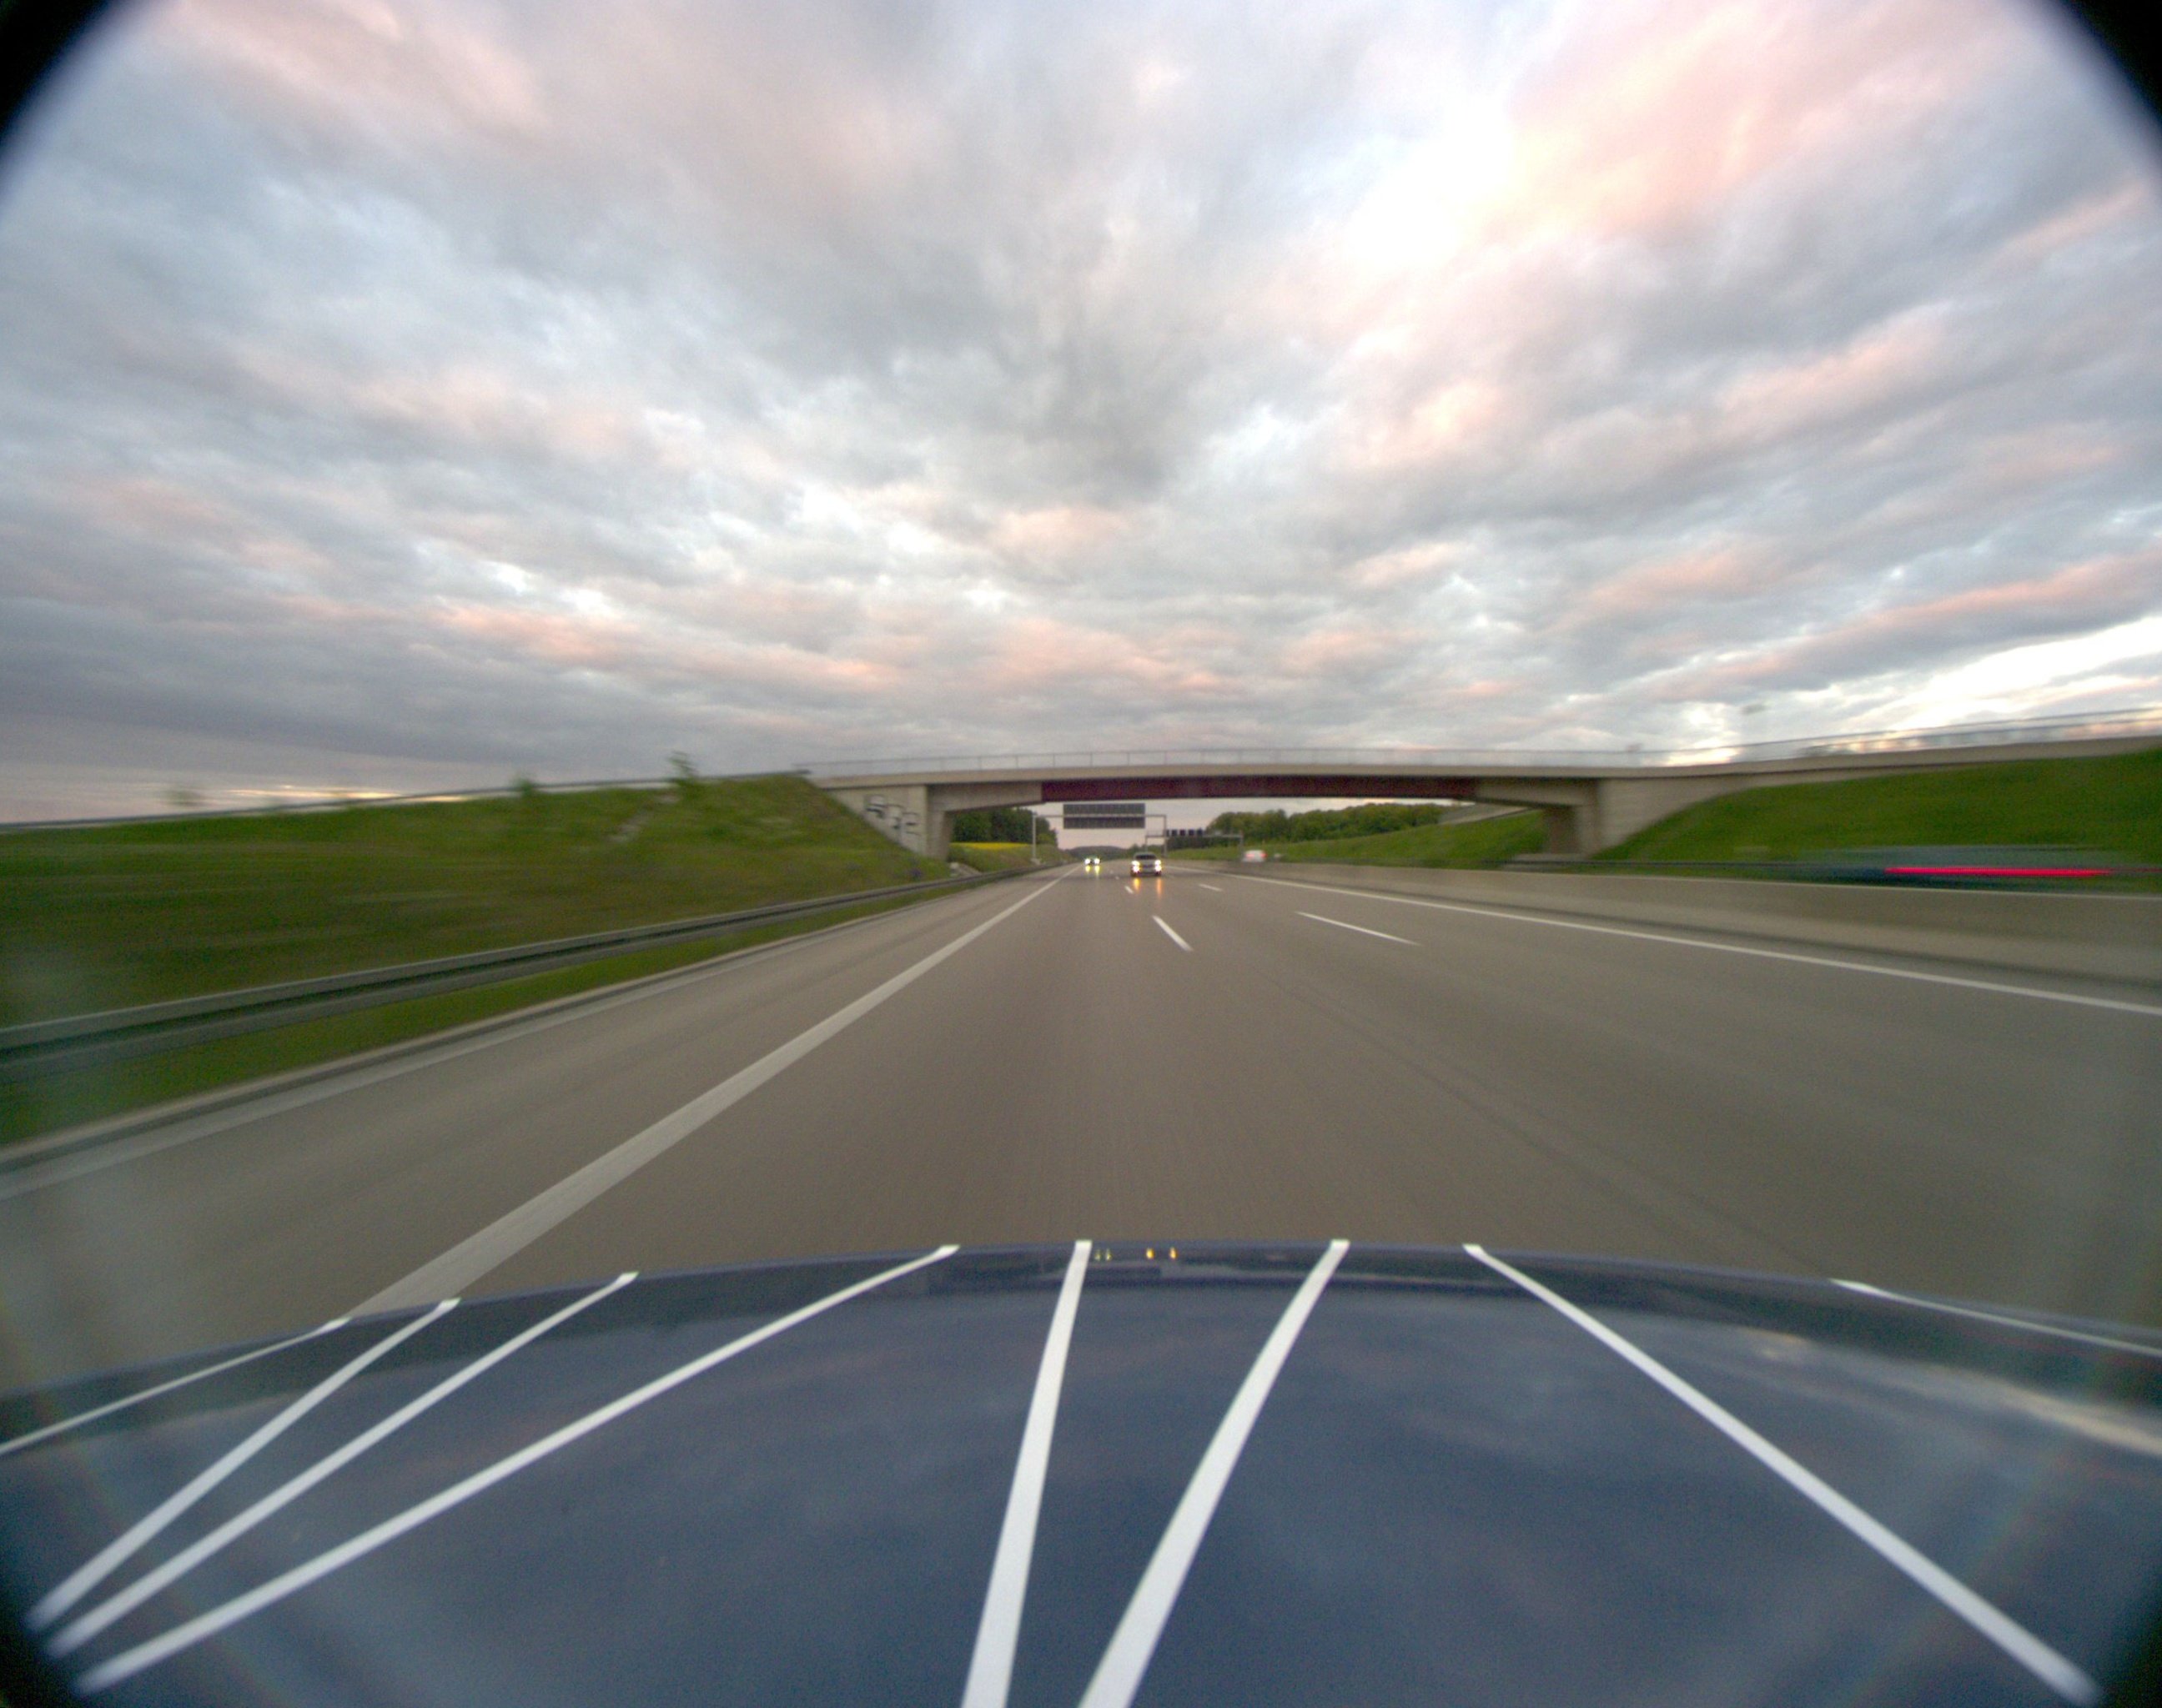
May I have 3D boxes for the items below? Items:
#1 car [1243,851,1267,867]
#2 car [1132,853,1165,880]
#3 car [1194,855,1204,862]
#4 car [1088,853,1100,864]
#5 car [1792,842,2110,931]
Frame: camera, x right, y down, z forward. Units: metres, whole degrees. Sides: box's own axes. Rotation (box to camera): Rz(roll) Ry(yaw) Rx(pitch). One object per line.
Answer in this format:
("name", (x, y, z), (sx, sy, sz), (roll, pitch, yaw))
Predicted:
("car", (20.938, 0.594, 91.708), (1.827, 1.924, 4.894), (-2, 0, 1))
("car", (4.610, 0.829, 52.650), (1.857, 1.683, 5.512), (-1, 0, 1))
("car", (26.416, 0.988, 170.707), (1.606, 1.548, 4.000), (-2, 0, 1))
("car", (2.104, 0.736, 122.002), (1.801, 1.674, 4.385), (-1, 1, 1))
("car", (19.101, 0.638, 17.106), (1.829, 1.653, 4.651), (-2, 0, 0))
